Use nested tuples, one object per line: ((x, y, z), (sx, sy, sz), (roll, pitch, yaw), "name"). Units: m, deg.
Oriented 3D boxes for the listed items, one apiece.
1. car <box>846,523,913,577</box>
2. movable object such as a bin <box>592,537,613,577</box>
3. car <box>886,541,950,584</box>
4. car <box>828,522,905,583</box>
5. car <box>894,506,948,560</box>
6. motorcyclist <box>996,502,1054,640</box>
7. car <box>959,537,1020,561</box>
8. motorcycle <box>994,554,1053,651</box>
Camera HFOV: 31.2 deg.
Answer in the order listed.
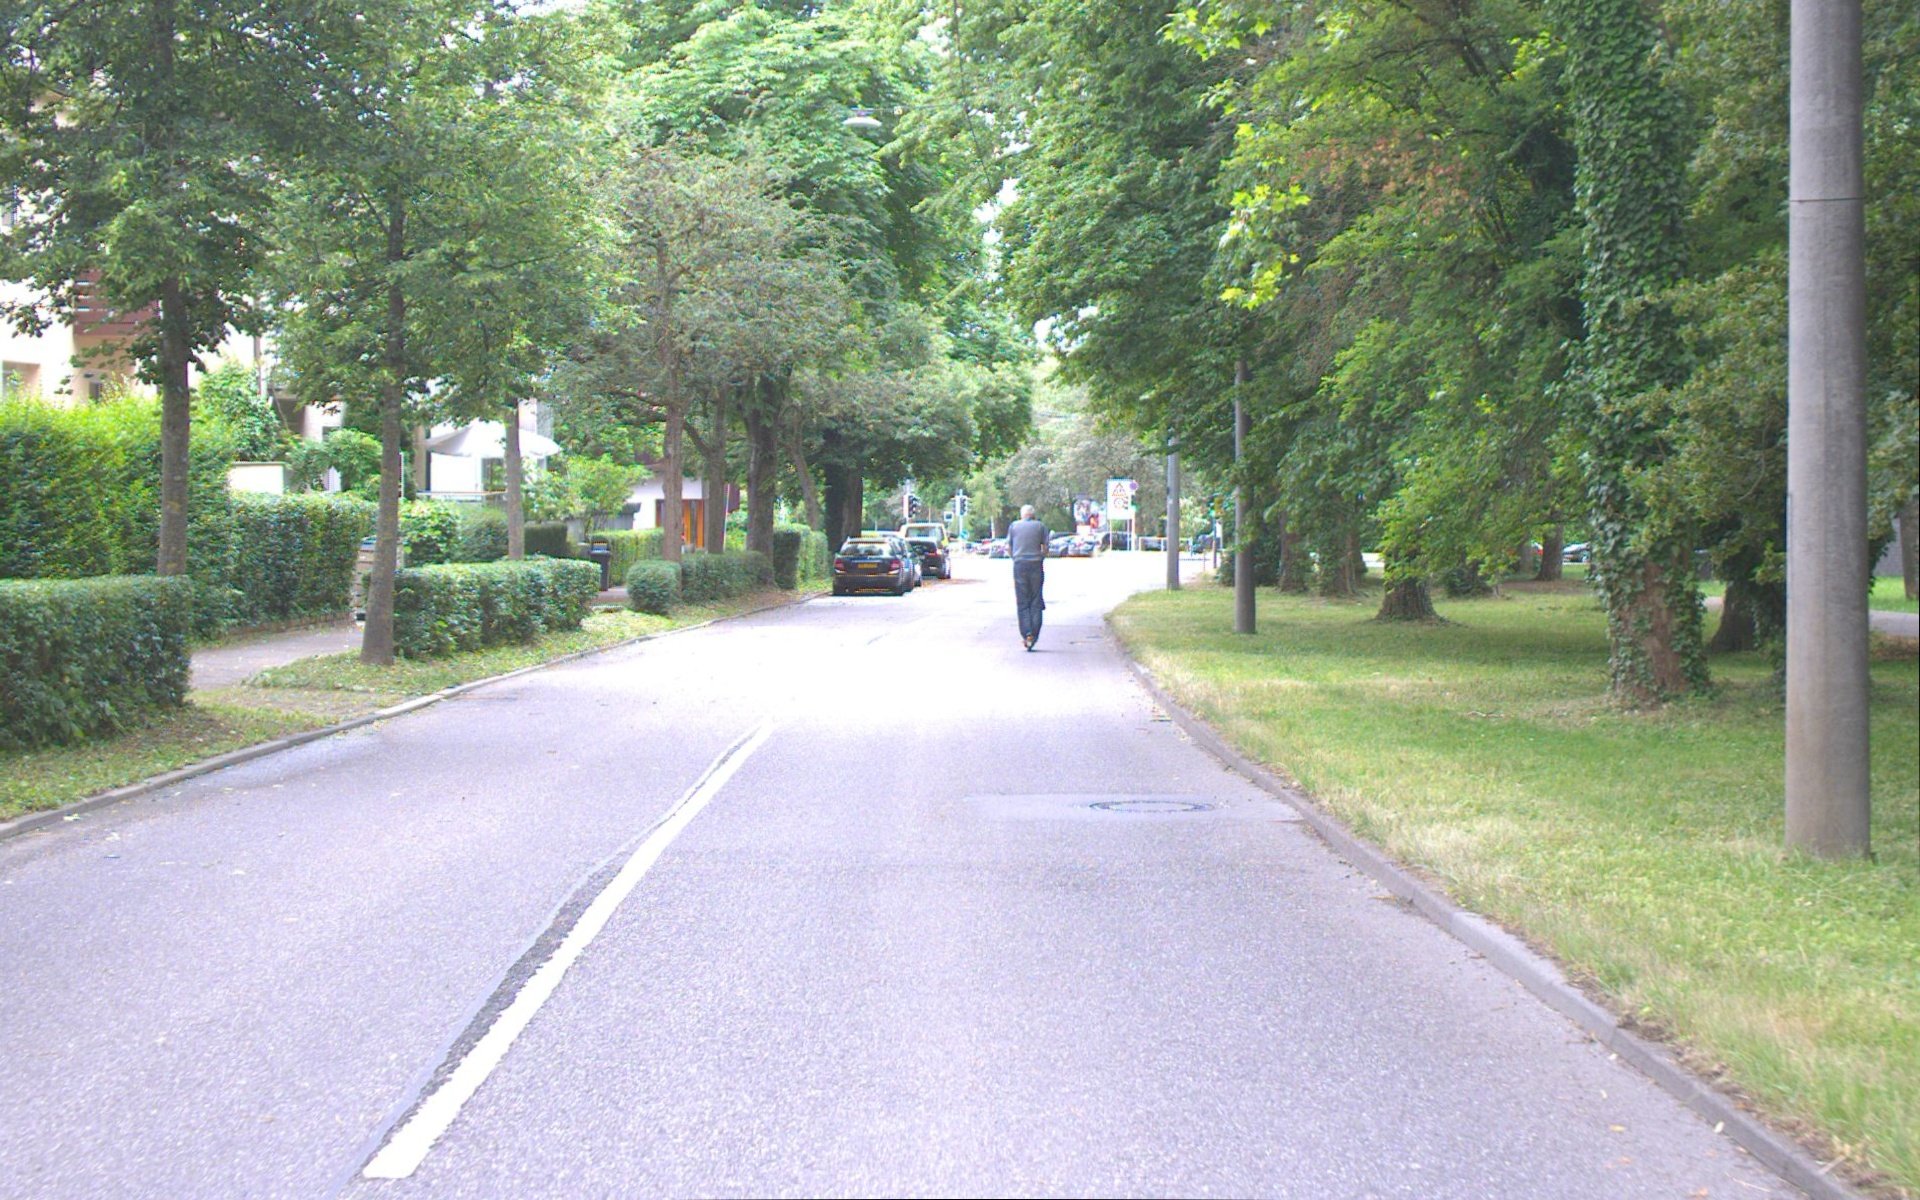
((-2.132, -1.345, 91.780), (1.664, 1.387, 3.707), (-1, 1, 0), "car")
((-8.120, -0.972, 78.063), (0.456, 0.912, 0.508), (-1, 1, -4), "movable object such as a bin")
((-1.432, -1.274, 117.788), (1.892, 1.405, 4.553), (-1, 0, 3), "car")
((-2.324, -1.201, 86.590), (1.794, 1.467, 4.418), (-1, 1, 0), "car")
((-1.478, -2.502, 128.665), (1.857, 1.957, 4.505), (-1, 0, -3), "car")
((0.848, -0.375, 44.510), (0.673, 1.755, 0.639), (2, 1, 4), "motorcyclist")
((1.963, -3.347, 226.127), (3.987, 1.505, 1.800), (-1, 1, 0), "car")
((0.826, 0.022, 44.338), (0.673, 1.213, 1.273), (2, 1, 4), "motorcycle")
